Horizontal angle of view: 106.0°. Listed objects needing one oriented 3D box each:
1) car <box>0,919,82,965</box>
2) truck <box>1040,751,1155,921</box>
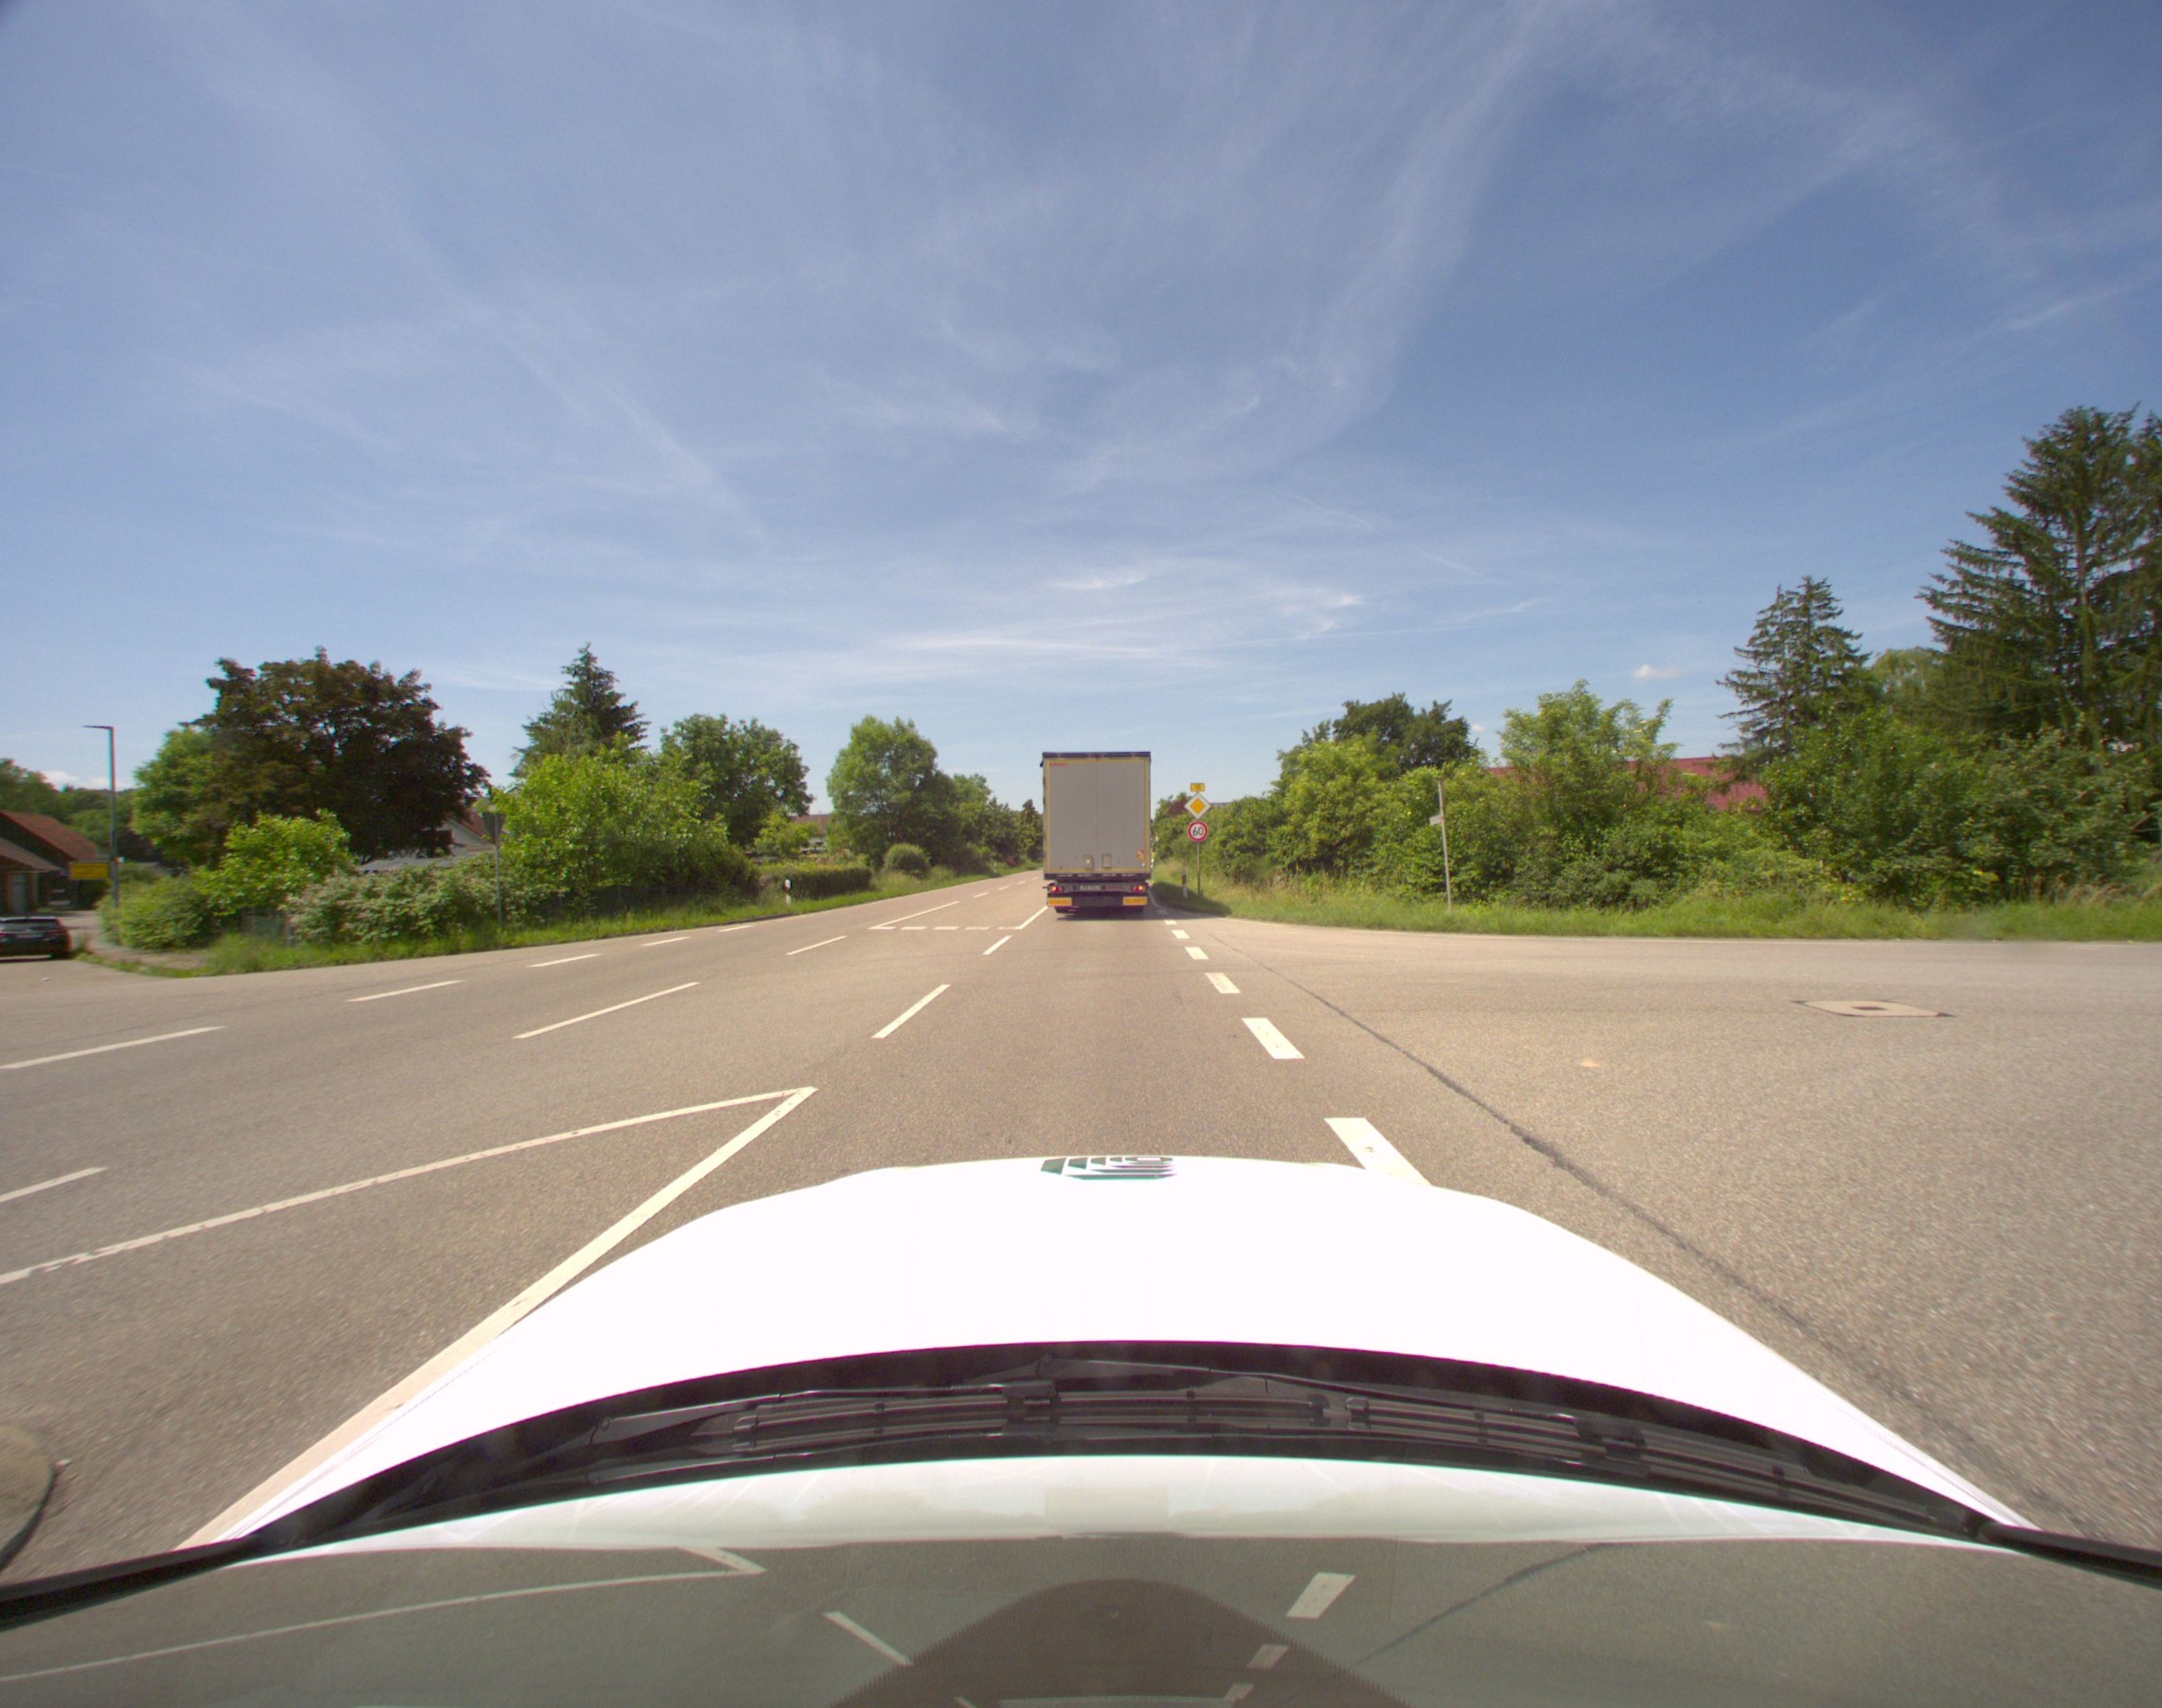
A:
[{"bbox_3d":[-34.933,2.897,27.153,3.948,1.357,1.809,-3,-3,36],"label":"car"},{"bbox_3d":[0.516,-0.436,23.420,2.637,3.917,8.828,-1,0,2],"label":"truck"}]
